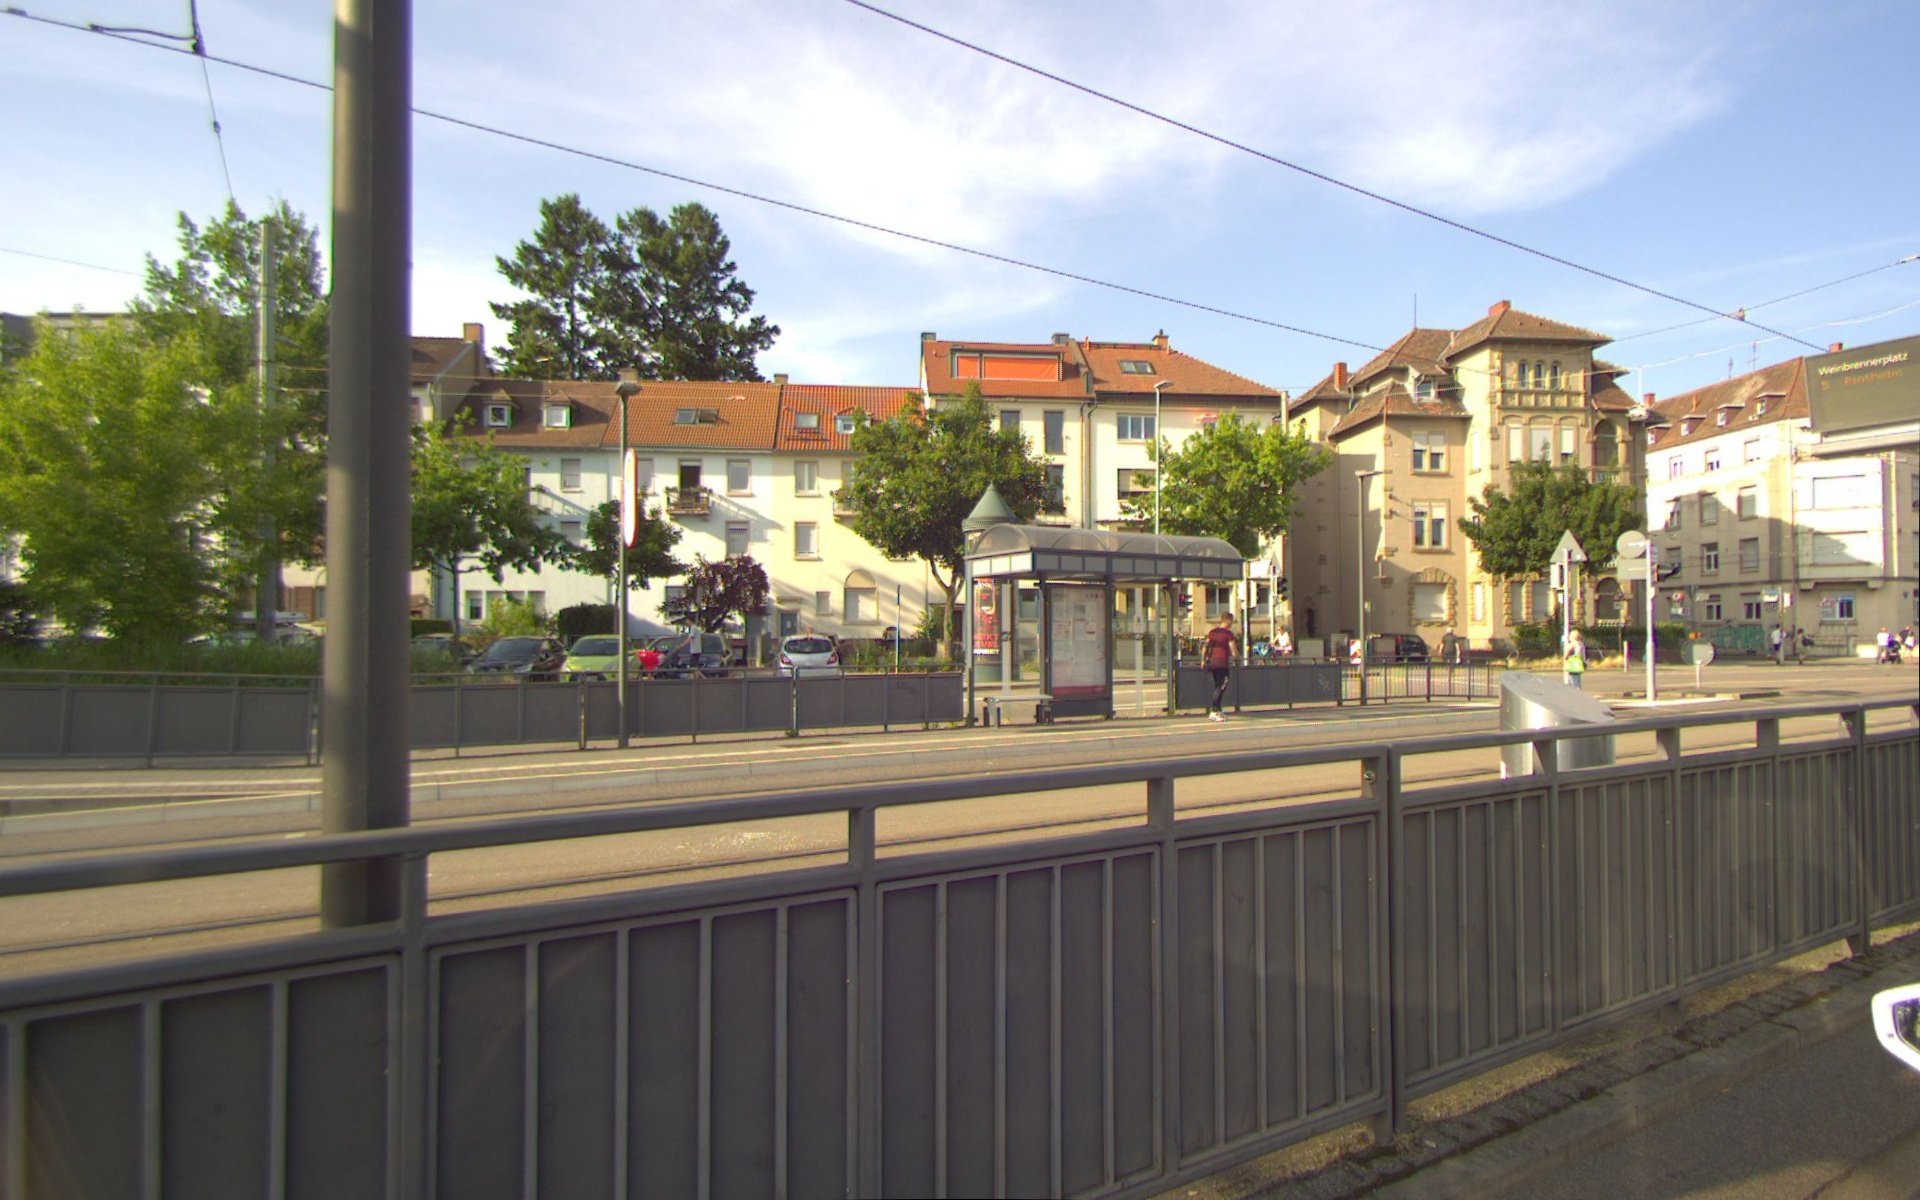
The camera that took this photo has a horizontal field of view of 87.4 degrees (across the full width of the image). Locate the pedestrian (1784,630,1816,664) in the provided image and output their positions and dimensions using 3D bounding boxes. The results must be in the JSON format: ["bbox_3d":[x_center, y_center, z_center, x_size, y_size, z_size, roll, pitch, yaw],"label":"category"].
[{"bbox_3d":[38.745,2.165,46.341,0.768,1.572,0.831,0,-2,-8],"label":"pedestrian"}]

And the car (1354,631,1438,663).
[{"bbox_3d":[20.370,2.176,47.126,1.732,1.327,4.111,2,0,-7],"label":"car"}]

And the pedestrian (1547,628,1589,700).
[{"bbox_3d":[13.908,1.450,22.974,0.627,1.620,0.608,1,-2,-36],"label":"pedestrian"}]

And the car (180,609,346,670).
[{"bbox_3d":[-18.664,1.058,27.143,1.813,1.505,3.999,0,-2,-3],"label":"car"}]

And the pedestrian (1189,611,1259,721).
[{"bbox_3d":[4.215,1.056,16.057,0.867,1.706,0.551,1,-5,-30],"label":"pedestrian"}]

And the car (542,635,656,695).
[{"bbox_3d":[-9.674,1.718,27.262,1.813,1.505,3.999,0,-2,-3],"label":"car"}]

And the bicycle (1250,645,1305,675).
[{"bbox_3d":[9.338,1.762,29.519,1.665,0.845,0.524,1,-2,-28],"label":"bicycle"}]

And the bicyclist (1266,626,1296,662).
[{"bbox_3d":[9.446,1.289,29.589,0.671,1.058,0.510,1,-2,-29],"label":"bicyclist"}]

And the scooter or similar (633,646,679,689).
[{"bbox_3d":[-7.248,1.598,23.971,1.006,1.001,0.556,0,-2,-15],"label":"scooter or similar"}]

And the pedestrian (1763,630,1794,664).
[{"bbox_3d":[38.466,2.190,47.214,0.768,1.572,0.831,0,-2,-8],"label":"pedestrian"}]

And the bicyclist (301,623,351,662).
[{"bbox_3d":[-20.904,1.406,33.125,1.153,1.278,0.765,0,-2,-8],"label":"bicyclist"}]

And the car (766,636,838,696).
[{"bbox_3d":[-4.349,1.770,27.824,1.815,1.505,3.995,0,-2,-9],"label":"car"}]

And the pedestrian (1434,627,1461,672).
[{"bbox_3d":[18.142,1.839,37.384,0.778,1.667,0.757,-1,-2,16],"label":"pedestrian"}]

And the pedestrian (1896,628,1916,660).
[{"bbox_3d":[44.835,2.079,47.608,0.540,1.520,0.437,0,-2,-15],"label":"pedestrian"}]

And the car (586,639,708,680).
[{"bbox_3d":[-11.227,2.129,36.247,3.927,1.416,1.836,0,-2,-9],"label":"car"}]

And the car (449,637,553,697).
[{"bbox_3d":[-11.884,1.681,26.254,1.968,1.416,3.985,0,-2,-18],"label":"car"}]

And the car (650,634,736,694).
[{"bbox_3d":[-7.167,1.688,27.286,1.815,1.505,3.995,0,-2,-9],"label":"car"}]

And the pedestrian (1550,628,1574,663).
[{"bbox_3d":[26.862,2.026,44.805,0.702,1.561,0.626,1,-2,-30],"label":"pedestrian"}]

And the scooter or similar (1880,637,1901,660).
[{"bbox_3d":[44.985,2.357,48.547,0.675,1.093,0.541,2,0,-30],"label":"scooter or similar"}]

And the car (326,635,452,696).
[{"bbox_3d":[-14.405,1.606,25.594,1.968,1.416,3.985,0,-2,-18],"label":"car"}]

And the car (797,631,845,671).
[{"bbox_3d":[-6.058,2.204,44.207,1.962,1.684,3.997,0,-2,-6],"label":"car"}]

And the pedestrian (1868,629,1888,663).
[{"bbox_3d":[44.092,2.199,48.260,0.601,1.647,0.506,1,-2,-29],"label":"pedestrian"}]

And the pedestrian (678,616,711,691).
[{"bbox_3d":[-6.394,1.275,24.203,0.750,1.769,0.547,0,-2,-15],"label":"pedestrian"}]
